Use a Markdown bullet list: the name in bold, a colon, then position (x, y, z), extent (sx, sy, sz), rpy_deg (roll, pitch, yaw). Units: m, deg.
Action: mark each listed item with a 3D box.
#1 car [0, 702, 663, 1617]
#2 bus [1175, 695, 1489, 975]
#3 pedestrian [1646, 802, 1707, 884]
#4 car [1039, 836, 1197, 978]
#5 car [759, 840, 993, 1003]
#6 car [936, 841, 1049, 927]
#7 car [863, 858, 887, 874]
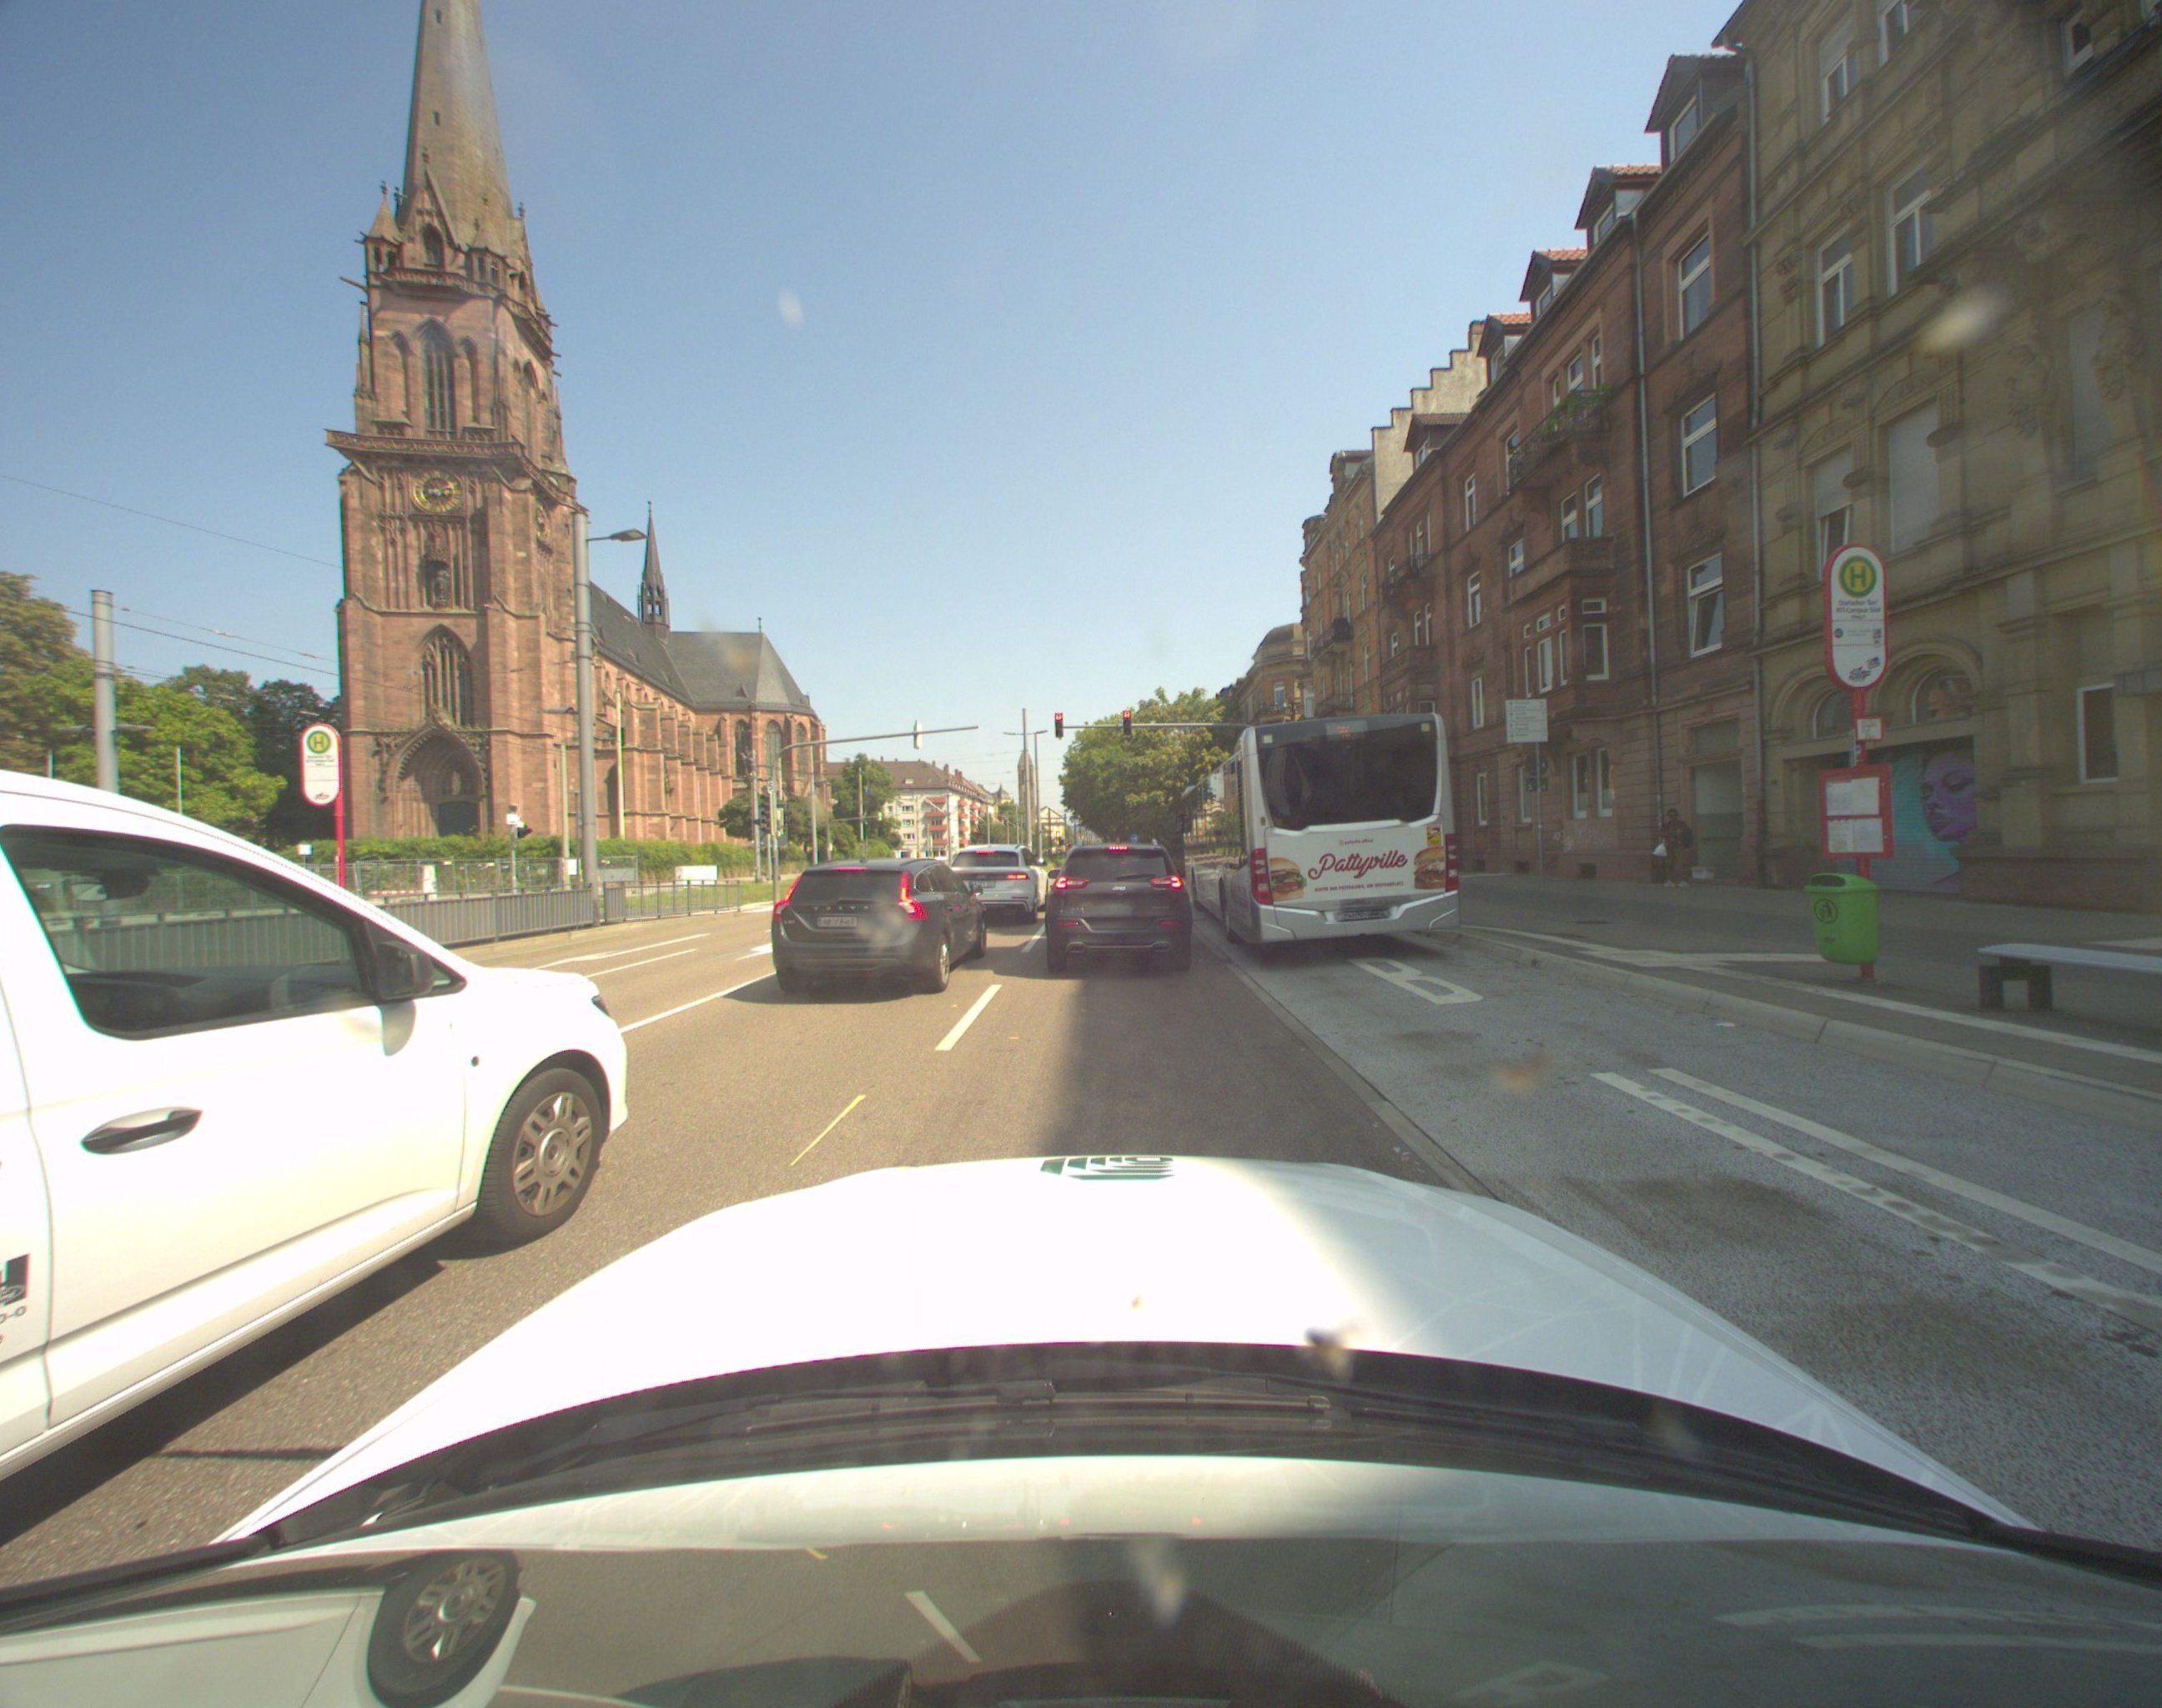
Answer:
- **car**: position (-3.023, 0.620, 1.922), extent (1.741, 1.820, 4.241), rpy_deg (-1, 0, 2)
- **bus**: position (3.649, -0.239, 15.611), extent (2.732, 3.106, 11.966), rpy_deg (-5, 0, 3)
- **pedestrian**: position (13.245, -0.243, 18.117), extent (0.872, 1.778, 0.737), rpy_deg (-2, 0, -26)
- **car**: position (0.529, 0.608, 11.687), extent (1.825, 1.651, 4.311), rpy_deg (-1, 0, 3)
- **car**: position (-2.294, 0.666, 10.319), extent (1.741, 1.614, 4.310), rpy_deg (-1, 0, 1)
- **car**: position (-1.818, 0.564, 18.125), extent (1.895, 1.651, 4.310), rpy_deg (-1, 0, 1)
- **car**: position (-20.123, 1.149, 79.674), extent (1.746, 1.435, 4.559), rpy_deg (-4, 0, -9)
